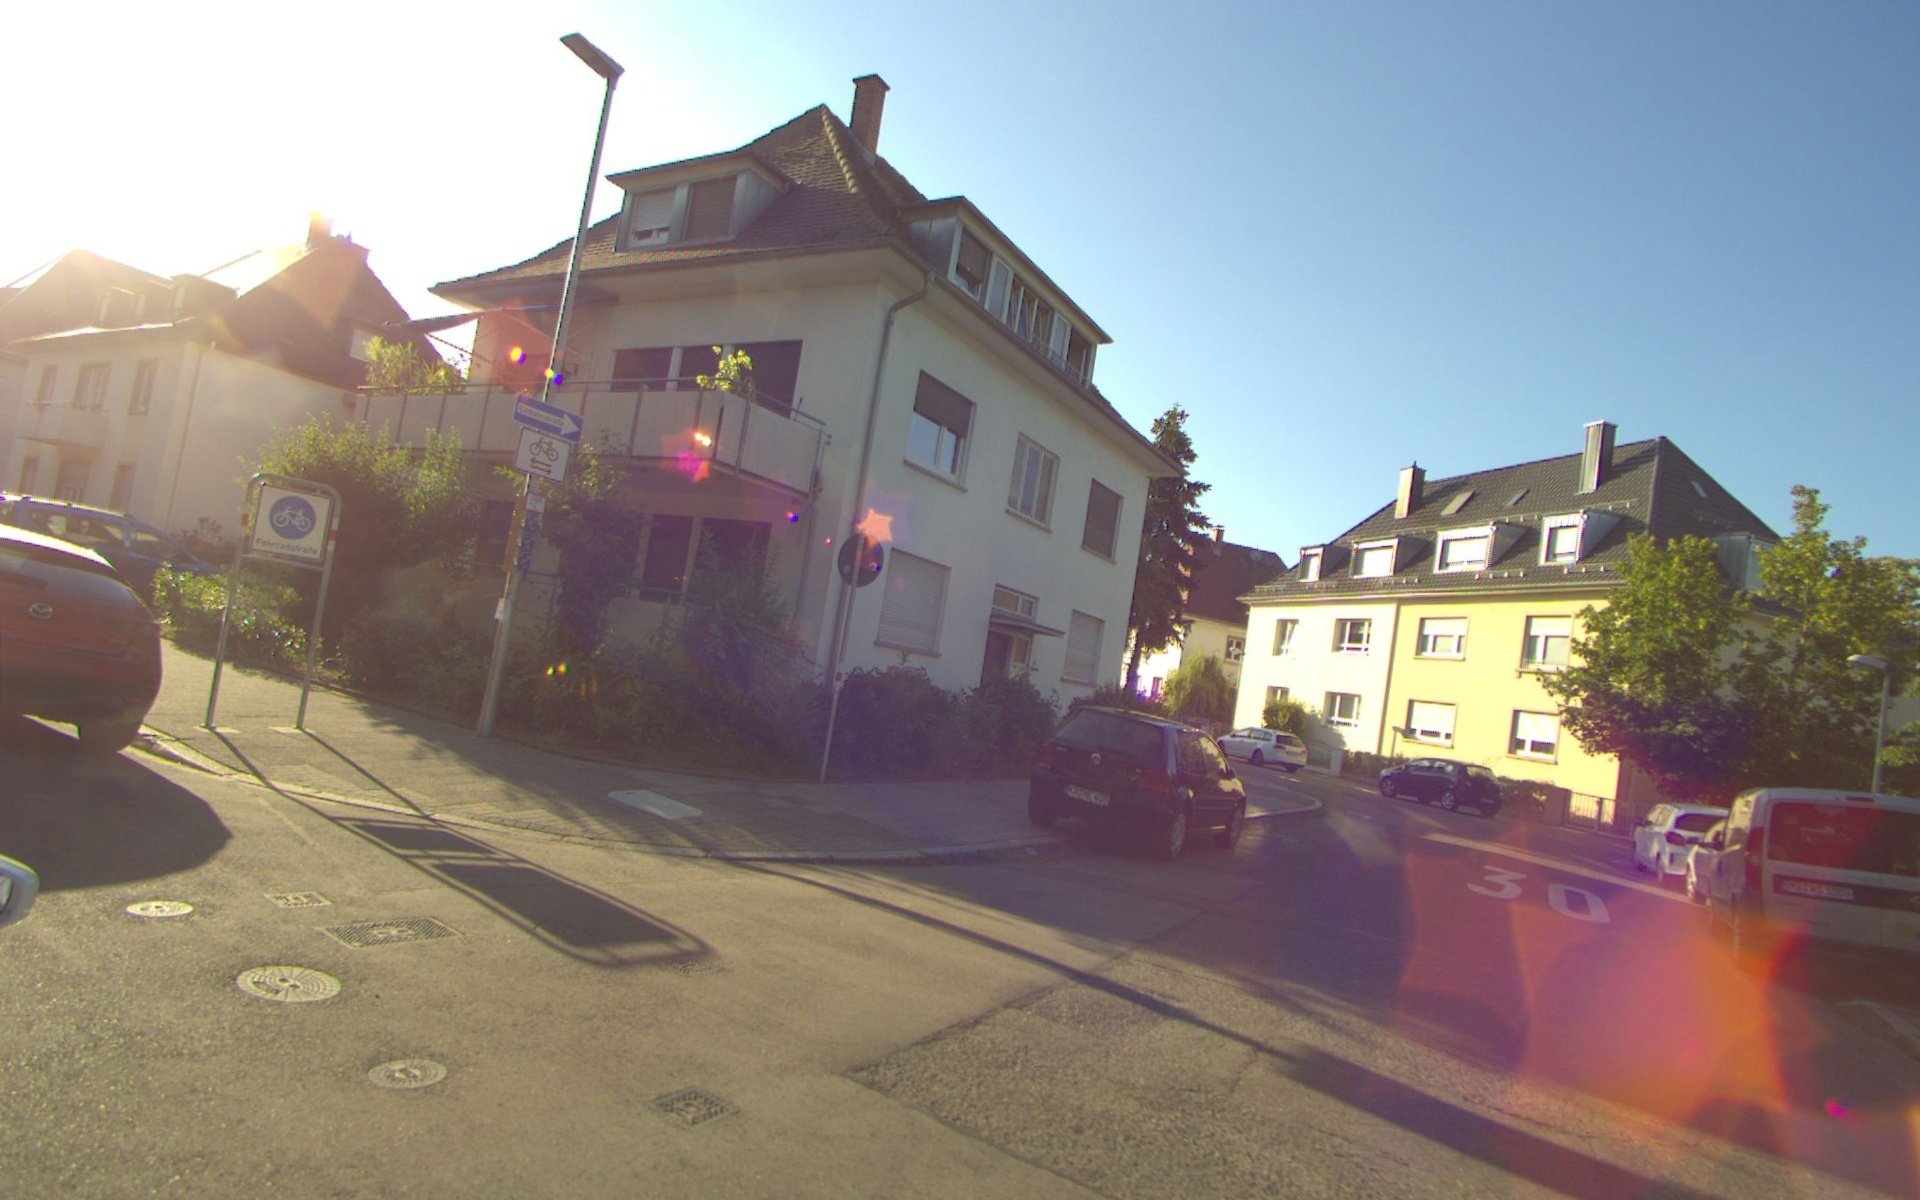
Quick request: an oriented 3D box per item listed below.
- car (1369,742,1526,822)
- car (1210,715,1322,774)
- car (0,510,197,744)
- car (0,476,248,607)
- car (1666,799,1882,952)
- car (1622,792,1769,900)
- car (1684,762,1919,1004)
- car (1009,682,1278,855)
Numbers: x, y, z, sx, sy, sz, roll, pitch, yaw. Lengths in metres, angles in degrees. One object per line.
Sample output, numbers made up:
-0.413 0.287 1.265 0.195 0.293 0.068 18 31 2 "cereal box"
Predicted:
14.708 5.471 30.604 1.972 1.568 3.990 11 -4 -17 "car"
11.933 5.617 39.501 1.974 1.586 4.094 11 -4 -19 "car"
-7.651 -0.014 7.414 4.134 1.371 1.717 6 -7 33 "car"
-17.091 -1.059 20.249 1.730 1.839 4.003 1 -7 27 "car"
11.731 3.892 14.750 1.577 1.531 3.569 7 -5 27 "car"
13.750 4.525 19.000 1.497 1.538 3.941 6 -7 27 "car"
9.339 2.918 10.842 1.997 1.893 4.257 6 -6 32 "car"
2.347 1.989 11.911 1.688 1.461 4.001 6 -6 32 "car"
